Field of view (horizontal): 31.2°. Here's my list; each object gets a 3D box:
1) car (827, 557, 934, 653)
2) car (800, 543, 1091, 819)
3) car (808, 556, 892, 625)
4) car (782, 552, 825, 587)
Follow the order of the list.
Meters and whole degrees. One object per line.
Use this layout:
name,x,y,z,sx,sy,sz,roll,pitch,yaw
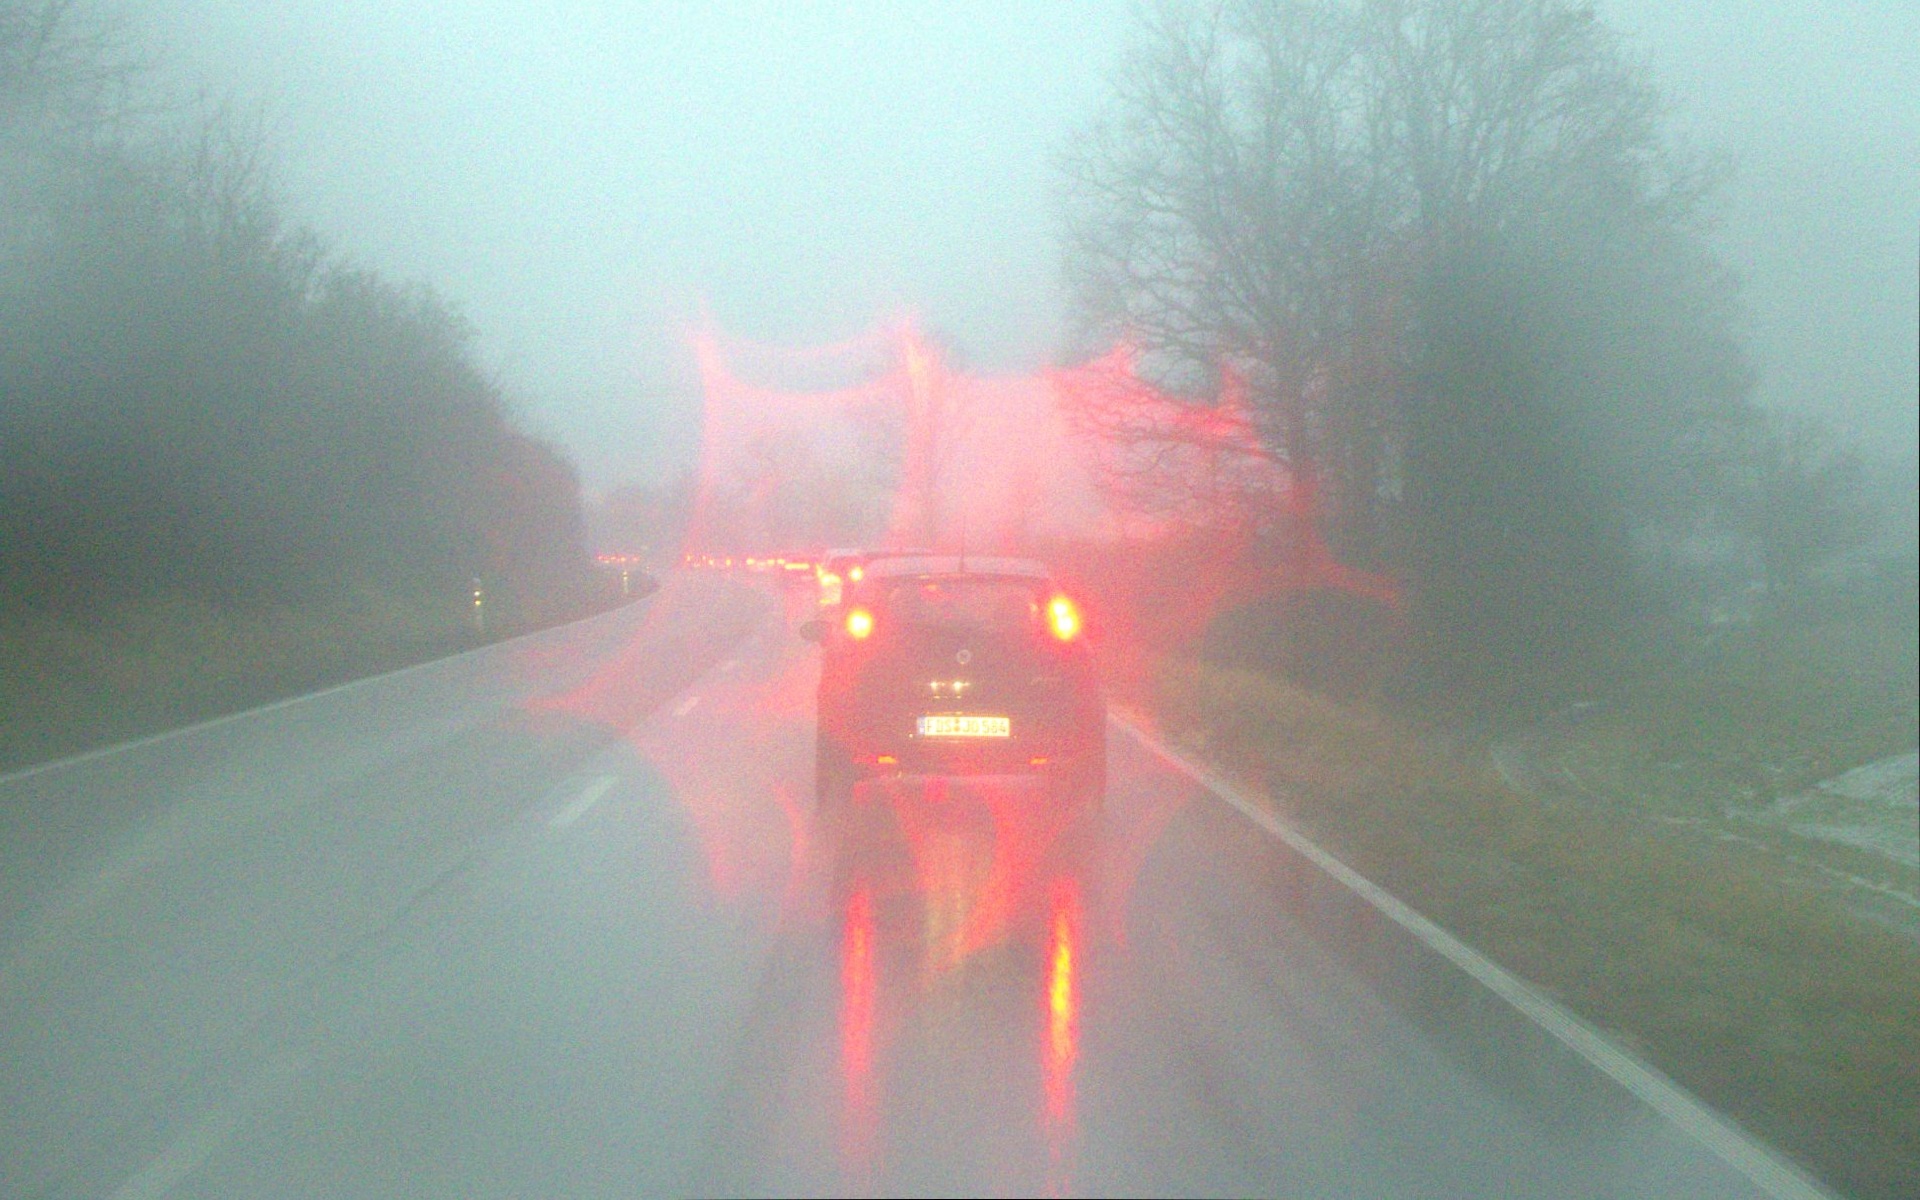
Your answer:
car,-1.195,0.052,52.607,1.547,1.392,3.870,1,1,-1
car,-0.015,0.425,21.133,1.602,1.517,3.869,1,1,2
car,-2.273,-0.219,71.713,1.547,1.392,3.869,1,1,1
car,-6.388,-1.235,140.353,1.547,1.392,3.869,1,1,0
